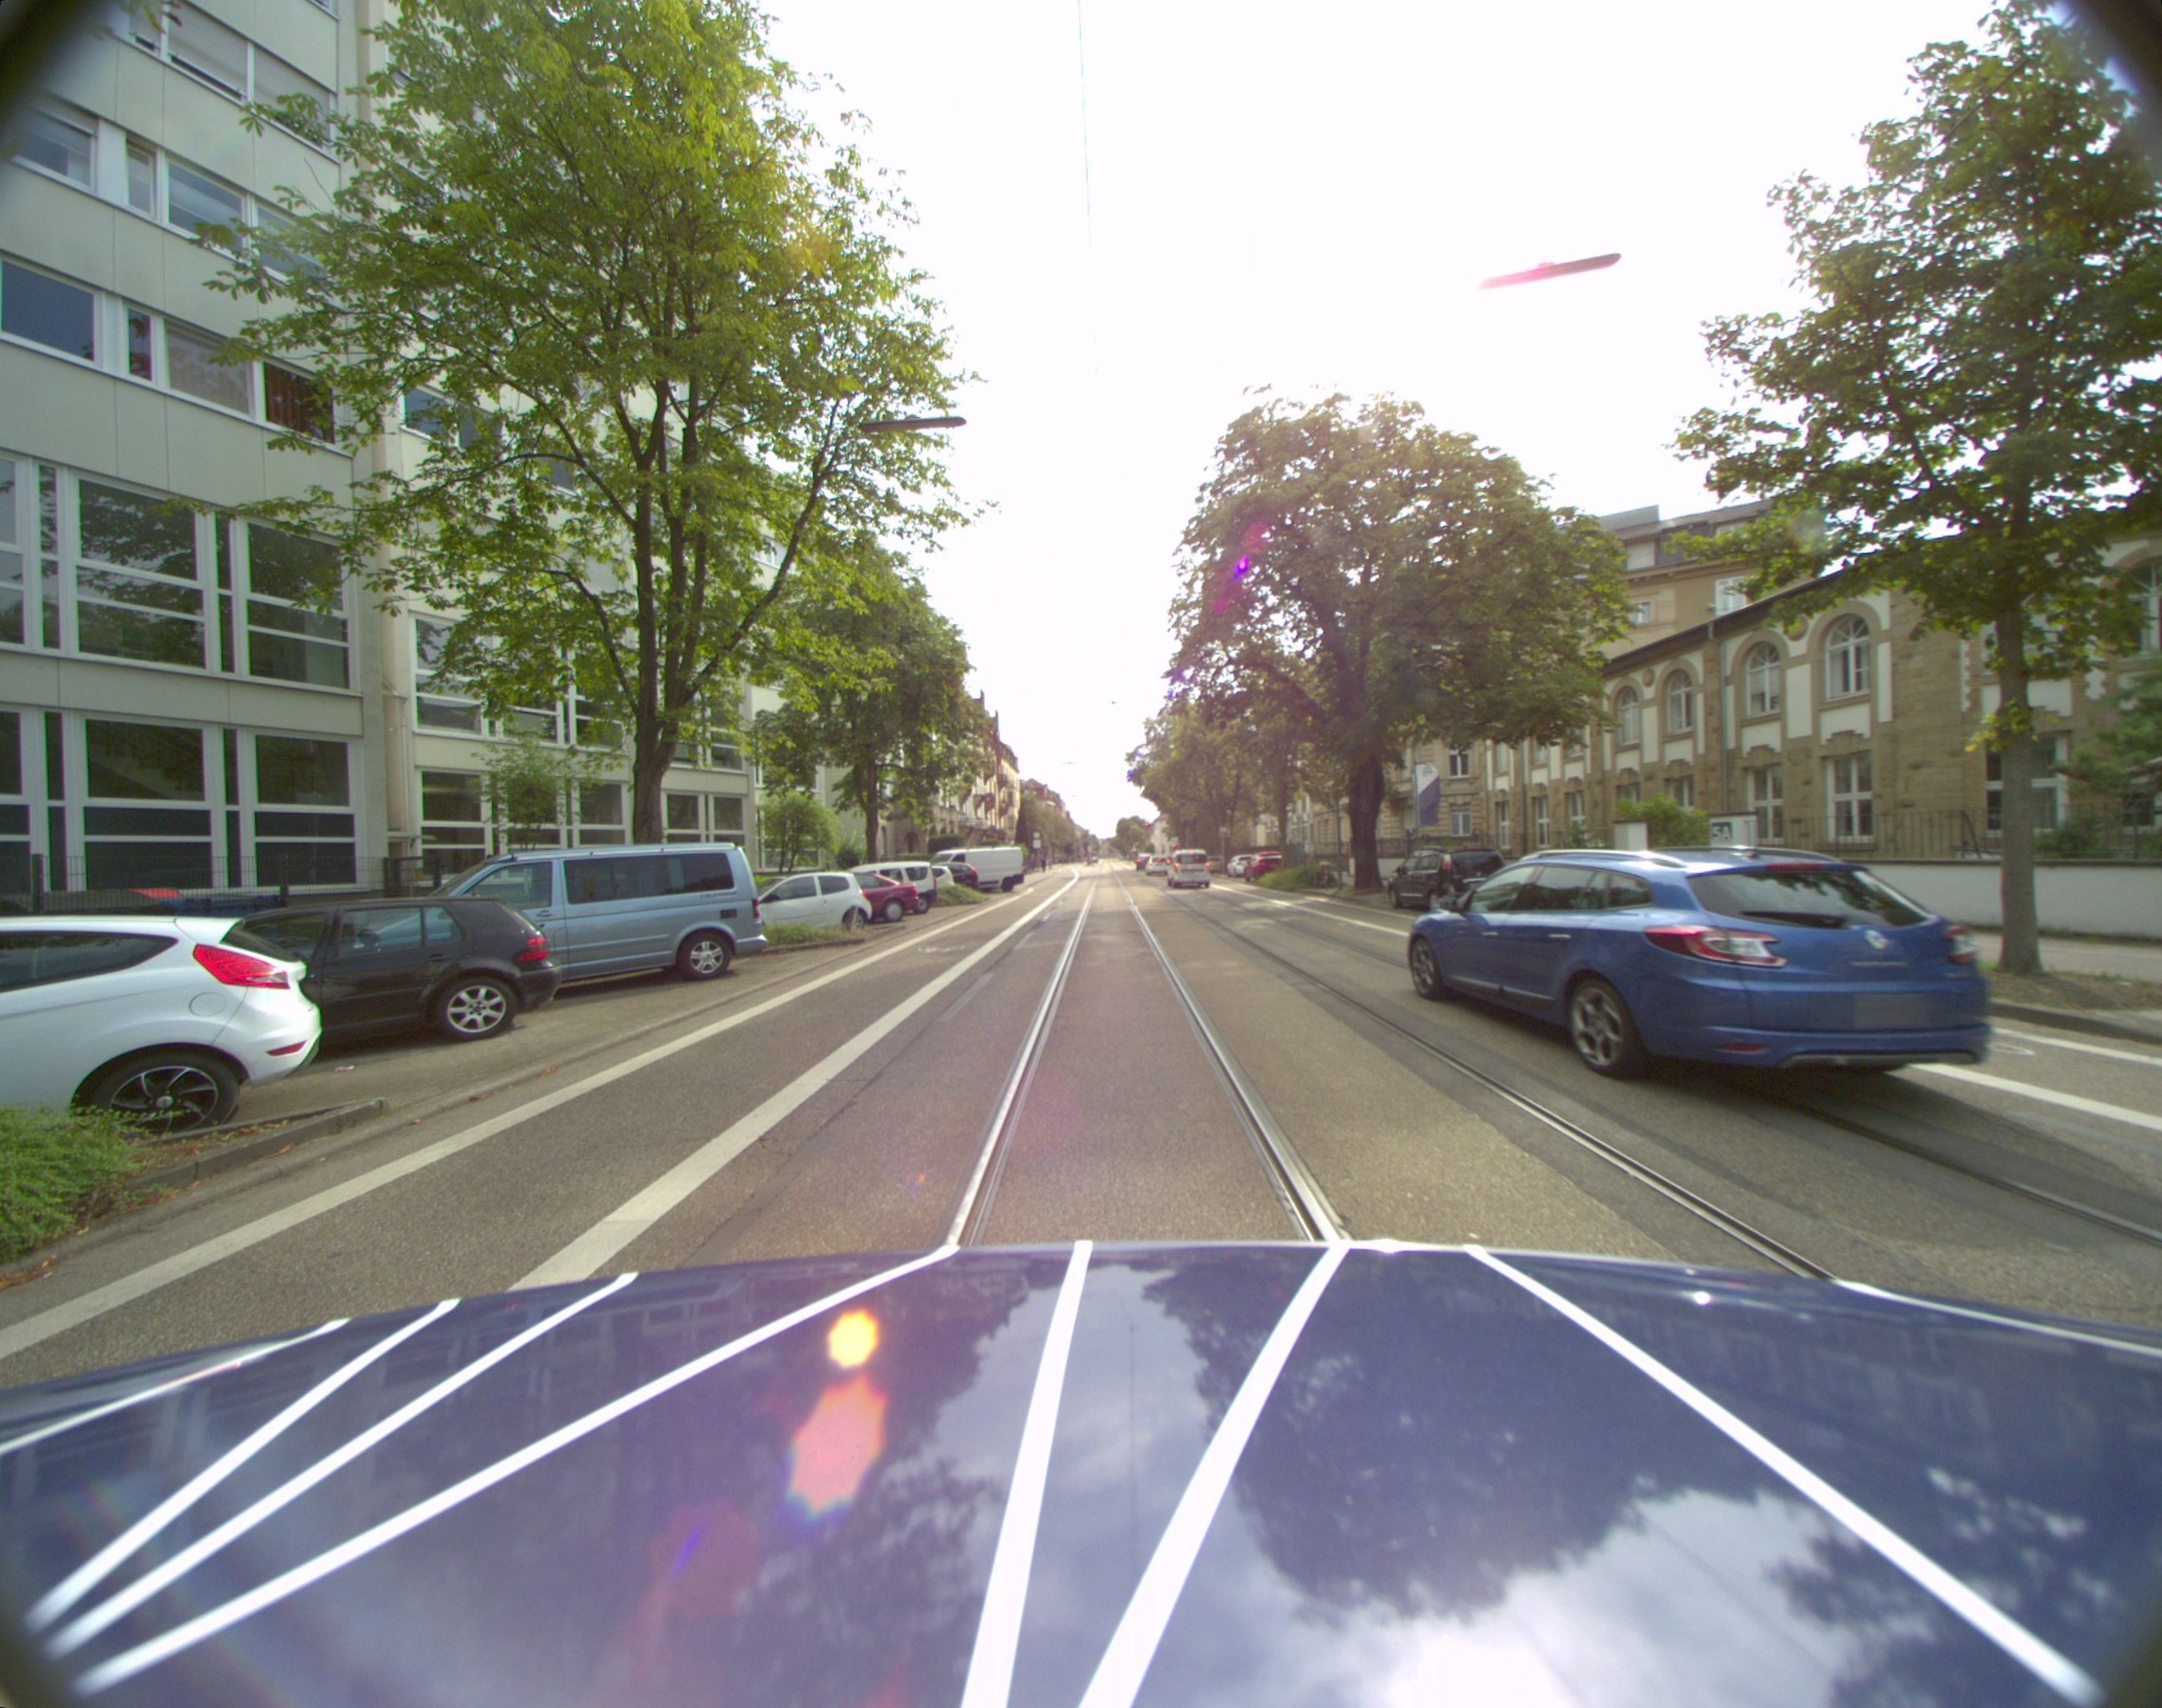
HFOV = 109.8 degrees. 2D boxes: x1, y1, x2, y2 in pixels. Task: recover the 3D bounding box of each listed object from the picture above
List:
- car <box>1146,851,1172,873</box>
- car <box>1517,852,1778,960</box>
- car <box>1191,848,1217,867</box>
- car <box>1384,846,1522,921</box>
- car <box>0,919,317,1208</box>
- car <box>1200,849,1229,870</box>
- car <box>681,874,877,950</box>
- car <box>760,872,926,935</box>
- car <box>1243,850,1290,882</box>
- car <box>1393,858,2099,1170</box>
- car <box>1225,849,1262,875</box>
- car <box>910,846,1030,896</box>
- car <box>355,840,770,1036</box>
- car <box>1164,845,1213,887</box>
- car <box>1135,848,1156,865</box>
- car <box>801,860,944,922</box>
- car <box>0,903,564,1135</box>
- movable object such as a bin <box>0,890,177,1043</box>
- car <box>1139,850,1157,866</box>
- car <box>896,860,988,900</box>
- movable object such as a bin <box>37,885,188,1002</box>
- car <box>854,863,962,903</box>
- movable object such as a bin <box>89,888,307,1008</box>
[{"bbox_3d":[5.992,0.610,58.811,1.736,1.603,4.334,-1,0,2],"label":"car"},{"bbox_3d":[8.963,0.729,12.440,1.632,1.456,3.574,-2,0,1],"label":"car"},{"bbox_3d":[11.038,0.329,68.359,1.658,1.624,3.906,-2,0,1],"label":"car"},{"bbox_3d":[9.142,0.662,19.027,1.658,1.624,3.725,-2,0,1],"label":"car"},{"bbox_3d":[-6.930,1.244,4.117,3.869,1.385,1.629,-2,0,-45],"label":"car"},{"bbox_3d":[10.668,0.432,61.051,1.658,1.624,3.906,-2,0,1],"label":"car"},{"bbox_3d":[-6.686,1.205,17.040,3.652,1.322,1.763,-3,1,-44],"label":"car"},{"bbox_3d":[-6.315,1.241,20.336,3.777,1.331,1.809,-2,1,-40],"label":"car"},{"bbox_3d":[10.122,0.632,41.754,1.658,1.624,3.906,-2,0,1],"label":"car"},{"bbox_3d":[4.180,0.806,5.941,1.736,1.488,4.378,-1,0,1],"label":"car"},{"bbox_3d":[10.748,0.517,50.509,1.658,1.592,3.906,-2,0,1],"label":"car"},{"bbox_3d":[-5.389,0.759,37.427,5.449,2.163,2.142,-2,1,-40],"label":"car"},{"bbox_3d":[-6.877,0.905,10.402,4.354,2.052,1.994,-2,0,-44],"label":"car"},{"bbox_3d":[5.177,0.564,37.090,1.736,1.873,4.378,-2,0,0],"label":"car"},{"bbox_3d":[6.593,0.256,78.565,1.852,1.603,4.334,-2,0,1],"label":"car"},{"bbox_3d":[-6.328,1.066,23.254,3.777,1.609,1.809,-2,1,-40],"label":"car"},{"bbox_3d":[-7.323,1.294,6.960,3.980,1.379,1.810,-3,-1,-44],"label":"car"},{"bbox_3d":[-12.116,1.266,8.924,1.334,1.586,1.354,-2,1,6],"label":"movable object such as a bin"},{"bbox_3d":[7.912,0.429,90.453,1.799,1.813,4.678,-2,0,1],"label":"car"},{"bbox_3d":[-6.178,1.110,33.754,3.649,1.580,1.764,-2,1,-25],"label":"car"},{"bbox_3d":[-14.382,1.273,11.301,1.177,1.559,1.177,-2,1,30],"label":"movable object such as a bin"},{"bbox_3d":[-6.705,1.086,29.626,3.652,1.322,1.763,-3,1,-44],"label":"car"},{"bbox_3d":[-12.086,1.244,10.477,1.334,1.450,1.400,-2,0,6],"label":"movable object such as a bin"}]
